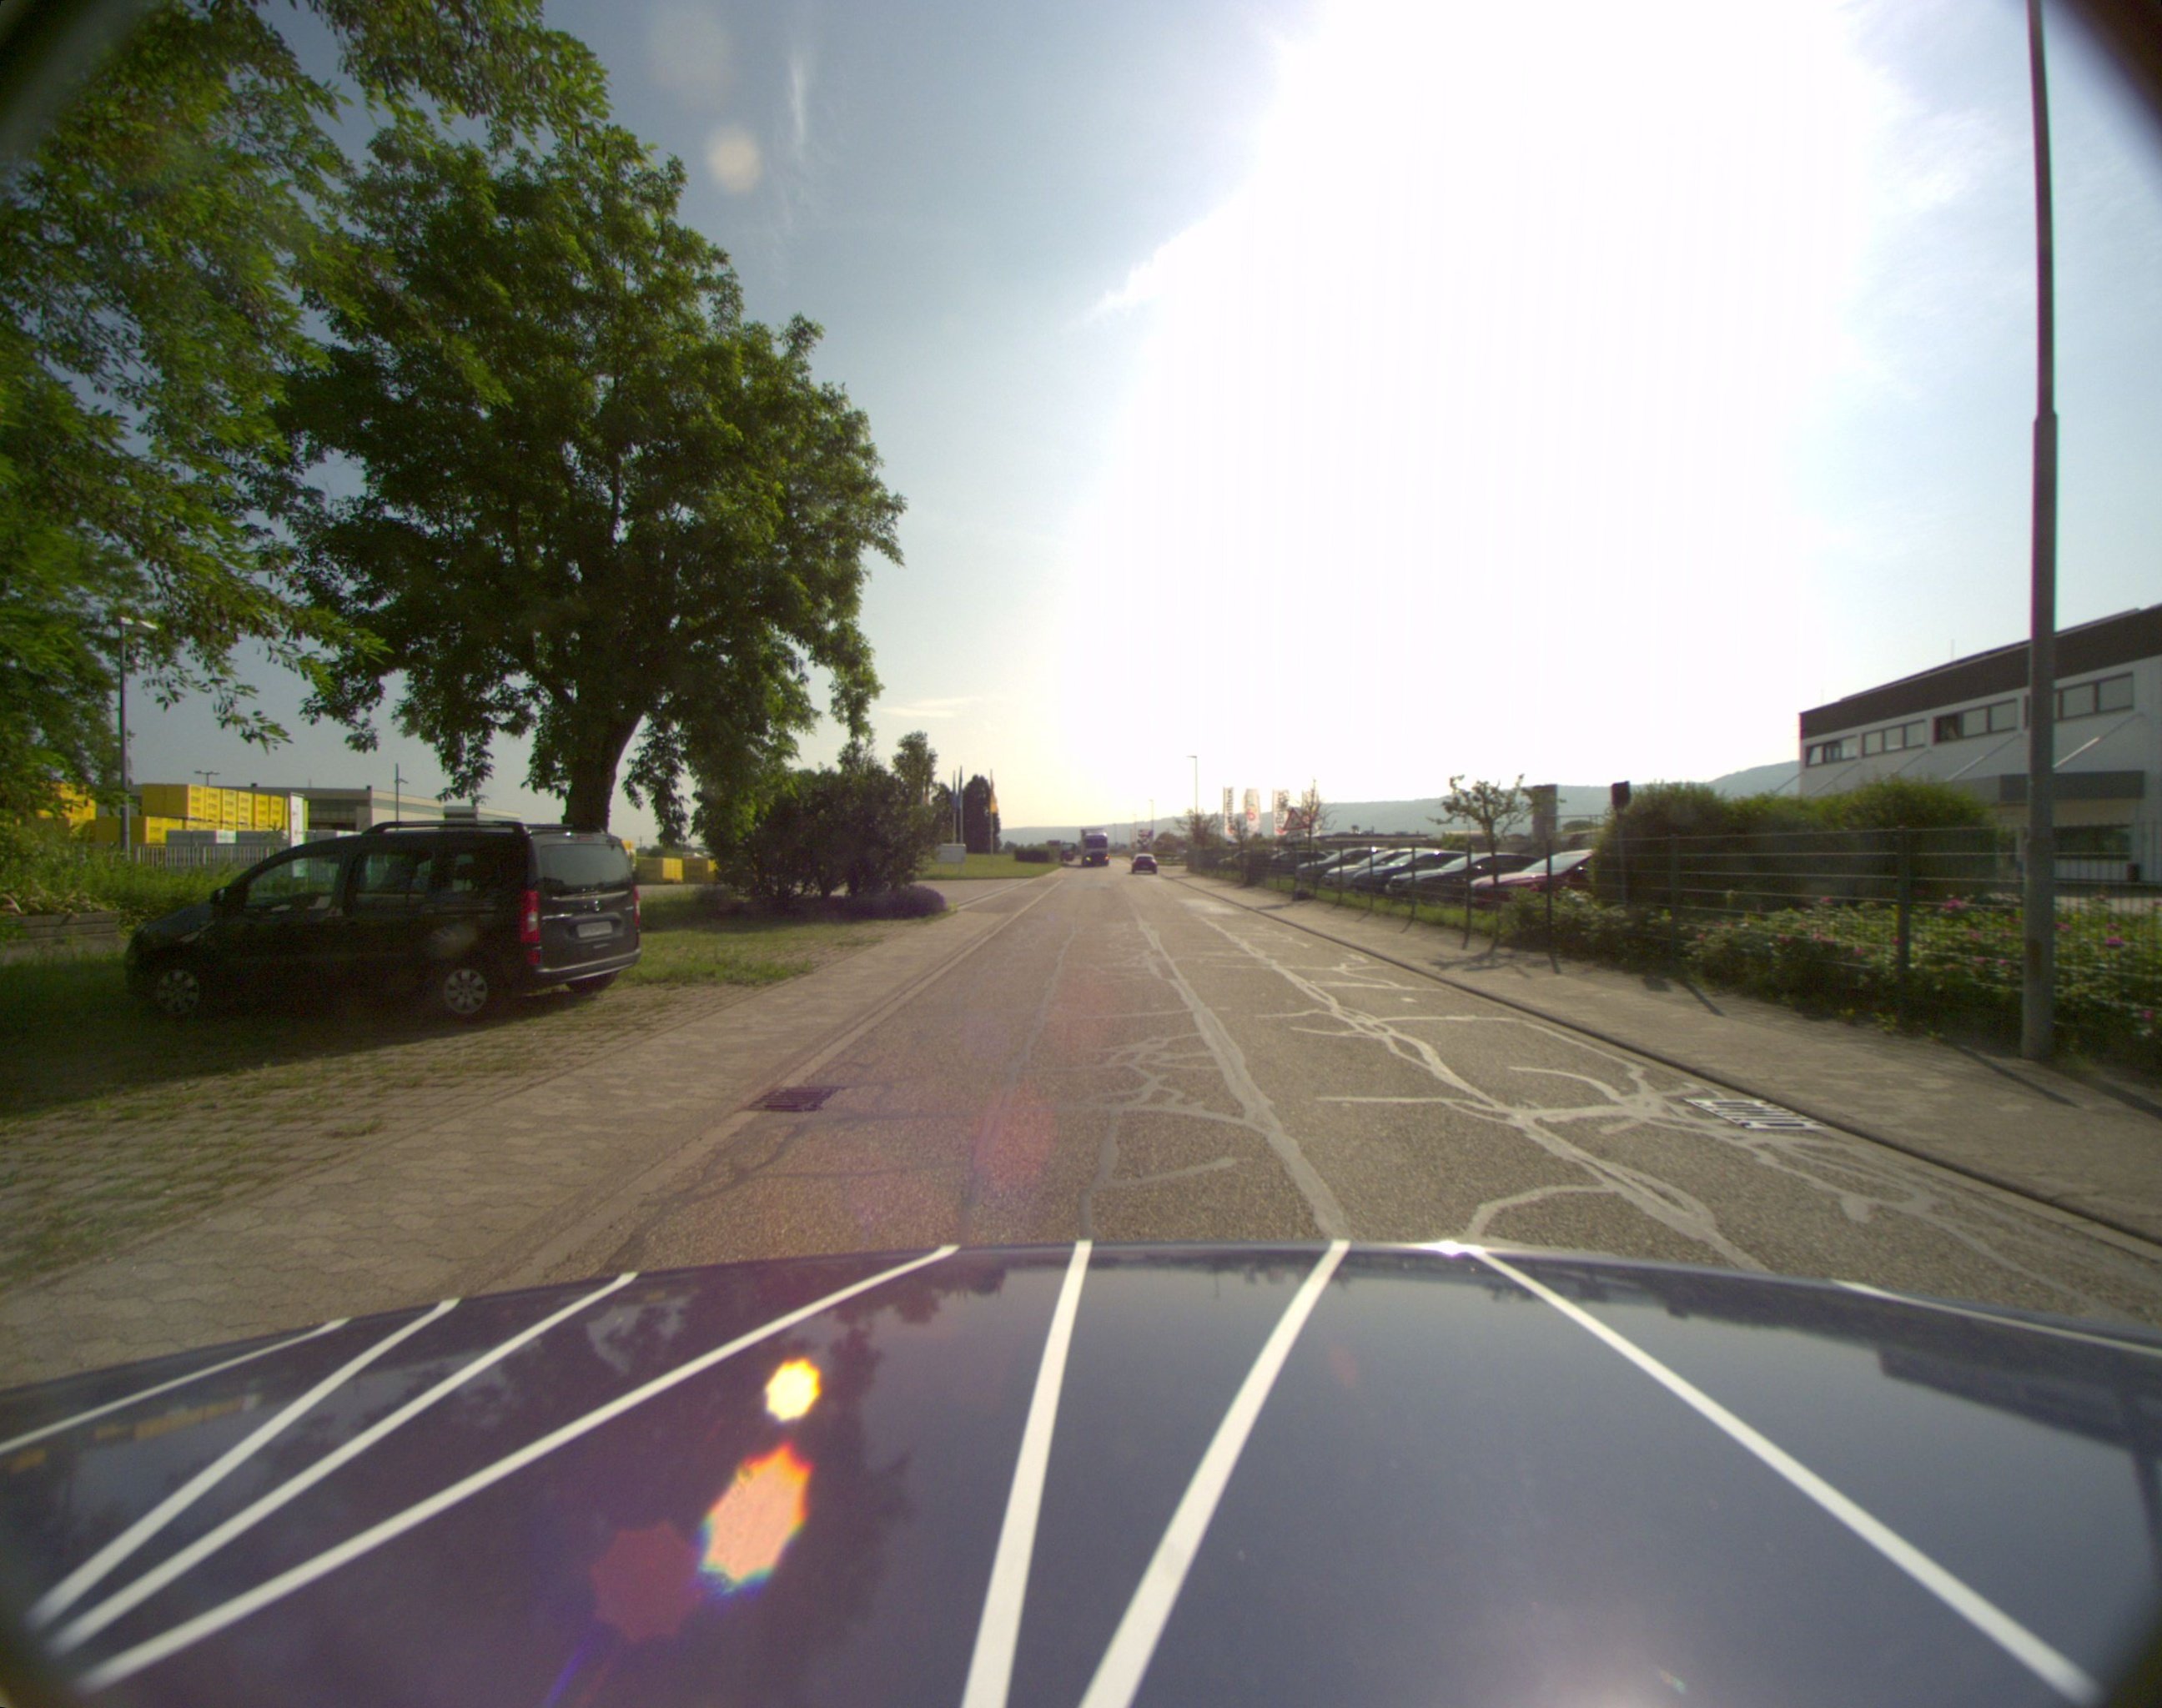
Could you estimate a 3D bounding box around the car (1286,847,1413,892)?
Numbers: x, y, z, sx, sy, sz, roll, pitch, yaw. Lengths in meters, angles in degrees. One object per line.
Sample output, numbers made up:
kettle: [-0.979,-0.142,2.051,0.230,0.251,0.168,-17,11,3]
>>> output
car: [10.086,0.548,28.752,4.137,1.558,1.865,1,1,1]

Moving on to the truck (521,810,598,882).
truck: [-29.906,-0.470,43.707,2.548,3.854,3.992,-3,2,-20]

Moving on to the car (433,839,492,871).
car: [-52.999,0.094,65.187,3.518,2.695,1.708,0,1,-20]

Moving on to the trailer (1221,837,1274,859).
trailer: [20.922,-0.802,95.255,6.314,2.590,2.857,1,1,16]

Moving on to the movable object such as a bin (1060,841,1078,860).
movable object such as a bin: [-1.936,-0.564,122.816,2.435,2.994,5.750,1,1,-6]

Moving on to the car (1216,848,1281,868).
car: [11.817,0.254,53.797,4.174,1.360,1.868,0,1,2]

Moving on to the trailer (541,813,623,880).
trailer: [-31.715,-0.509,48.630,2.487,3.854,7.786,-3,2,-20]

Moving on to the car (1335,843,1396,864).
car: [23.717,-0.064,63.374,4.653,1.742,2.155,0,1,23]

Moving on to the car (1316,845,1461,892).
car: [10.174,0.461,25.393,4.050,1.436,1.874,1,1,1]

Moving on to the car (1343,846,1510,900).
car: [10.050,0.523,22.343,4.050,1.436,1.874,1,1,1]

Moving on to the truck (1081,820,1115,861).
truck: [1.846,-1.463,82.413,3.395,4.183,6.098,-2,2,2]

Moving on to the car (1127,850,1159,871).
car: [4.558,0.438,56.290,1.998,1.441,4.419,2,1,0]

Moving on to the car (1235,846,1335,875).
car: [10.750,0.320,40.290,4.697,1.436,2.078,1,1,1]

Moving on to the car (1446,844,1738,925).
car: [10.136,0.562,15.371,4.547,1.436,1.952,1,1,1]

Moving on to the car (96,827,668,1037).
car: [-6.728,0.670,7.692,3.996,1.827,2.000,0,1,3]

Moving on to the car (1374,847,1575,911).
car: [9.789,0.588,19.133,4.050,1.436,1.874,1,1,1]
